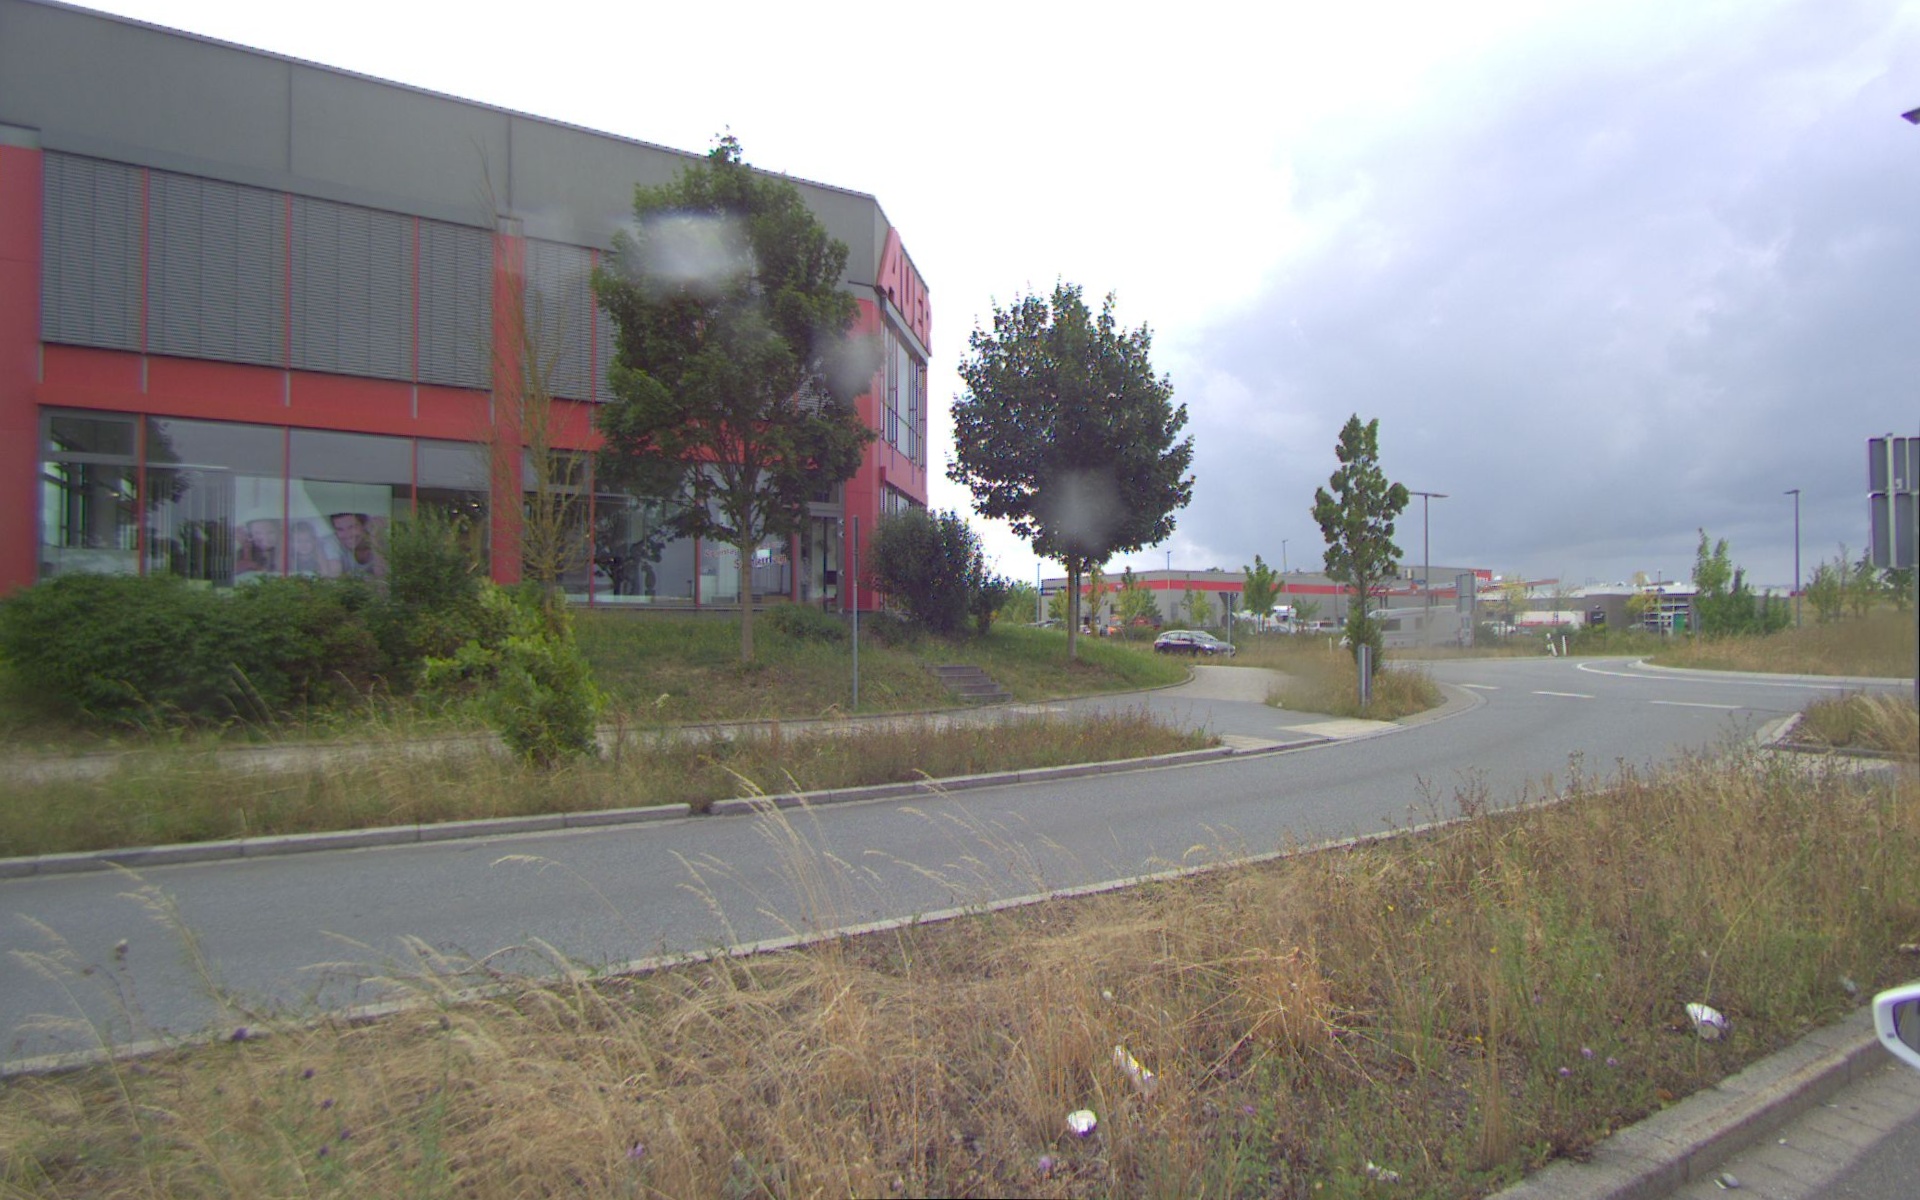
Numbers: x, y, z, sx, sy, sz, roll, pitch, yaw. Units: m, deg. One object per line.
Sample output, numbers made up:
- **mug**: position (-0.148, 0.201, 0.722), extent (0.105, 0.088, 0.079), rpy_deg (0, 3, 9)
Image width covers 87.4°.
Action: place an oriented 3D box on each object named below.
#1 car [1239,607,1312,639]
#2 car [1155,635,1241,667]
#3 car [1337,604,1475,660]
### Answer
- **car**: position (30.795, 2.266, 97.820), extent (7.607, 2.857, 2.449), rpy_deg (2, -1, -33)
- **car**: position (10.930, 2.320, 46.225), extent (1.663, 1.267, 3.554), rpy_deg (2, -1, -40)
- **car**: position (21.456, 1.511, 48.439), extent (5.627, 2.419, 2.270), rpy_deg (1, -1, 41)
